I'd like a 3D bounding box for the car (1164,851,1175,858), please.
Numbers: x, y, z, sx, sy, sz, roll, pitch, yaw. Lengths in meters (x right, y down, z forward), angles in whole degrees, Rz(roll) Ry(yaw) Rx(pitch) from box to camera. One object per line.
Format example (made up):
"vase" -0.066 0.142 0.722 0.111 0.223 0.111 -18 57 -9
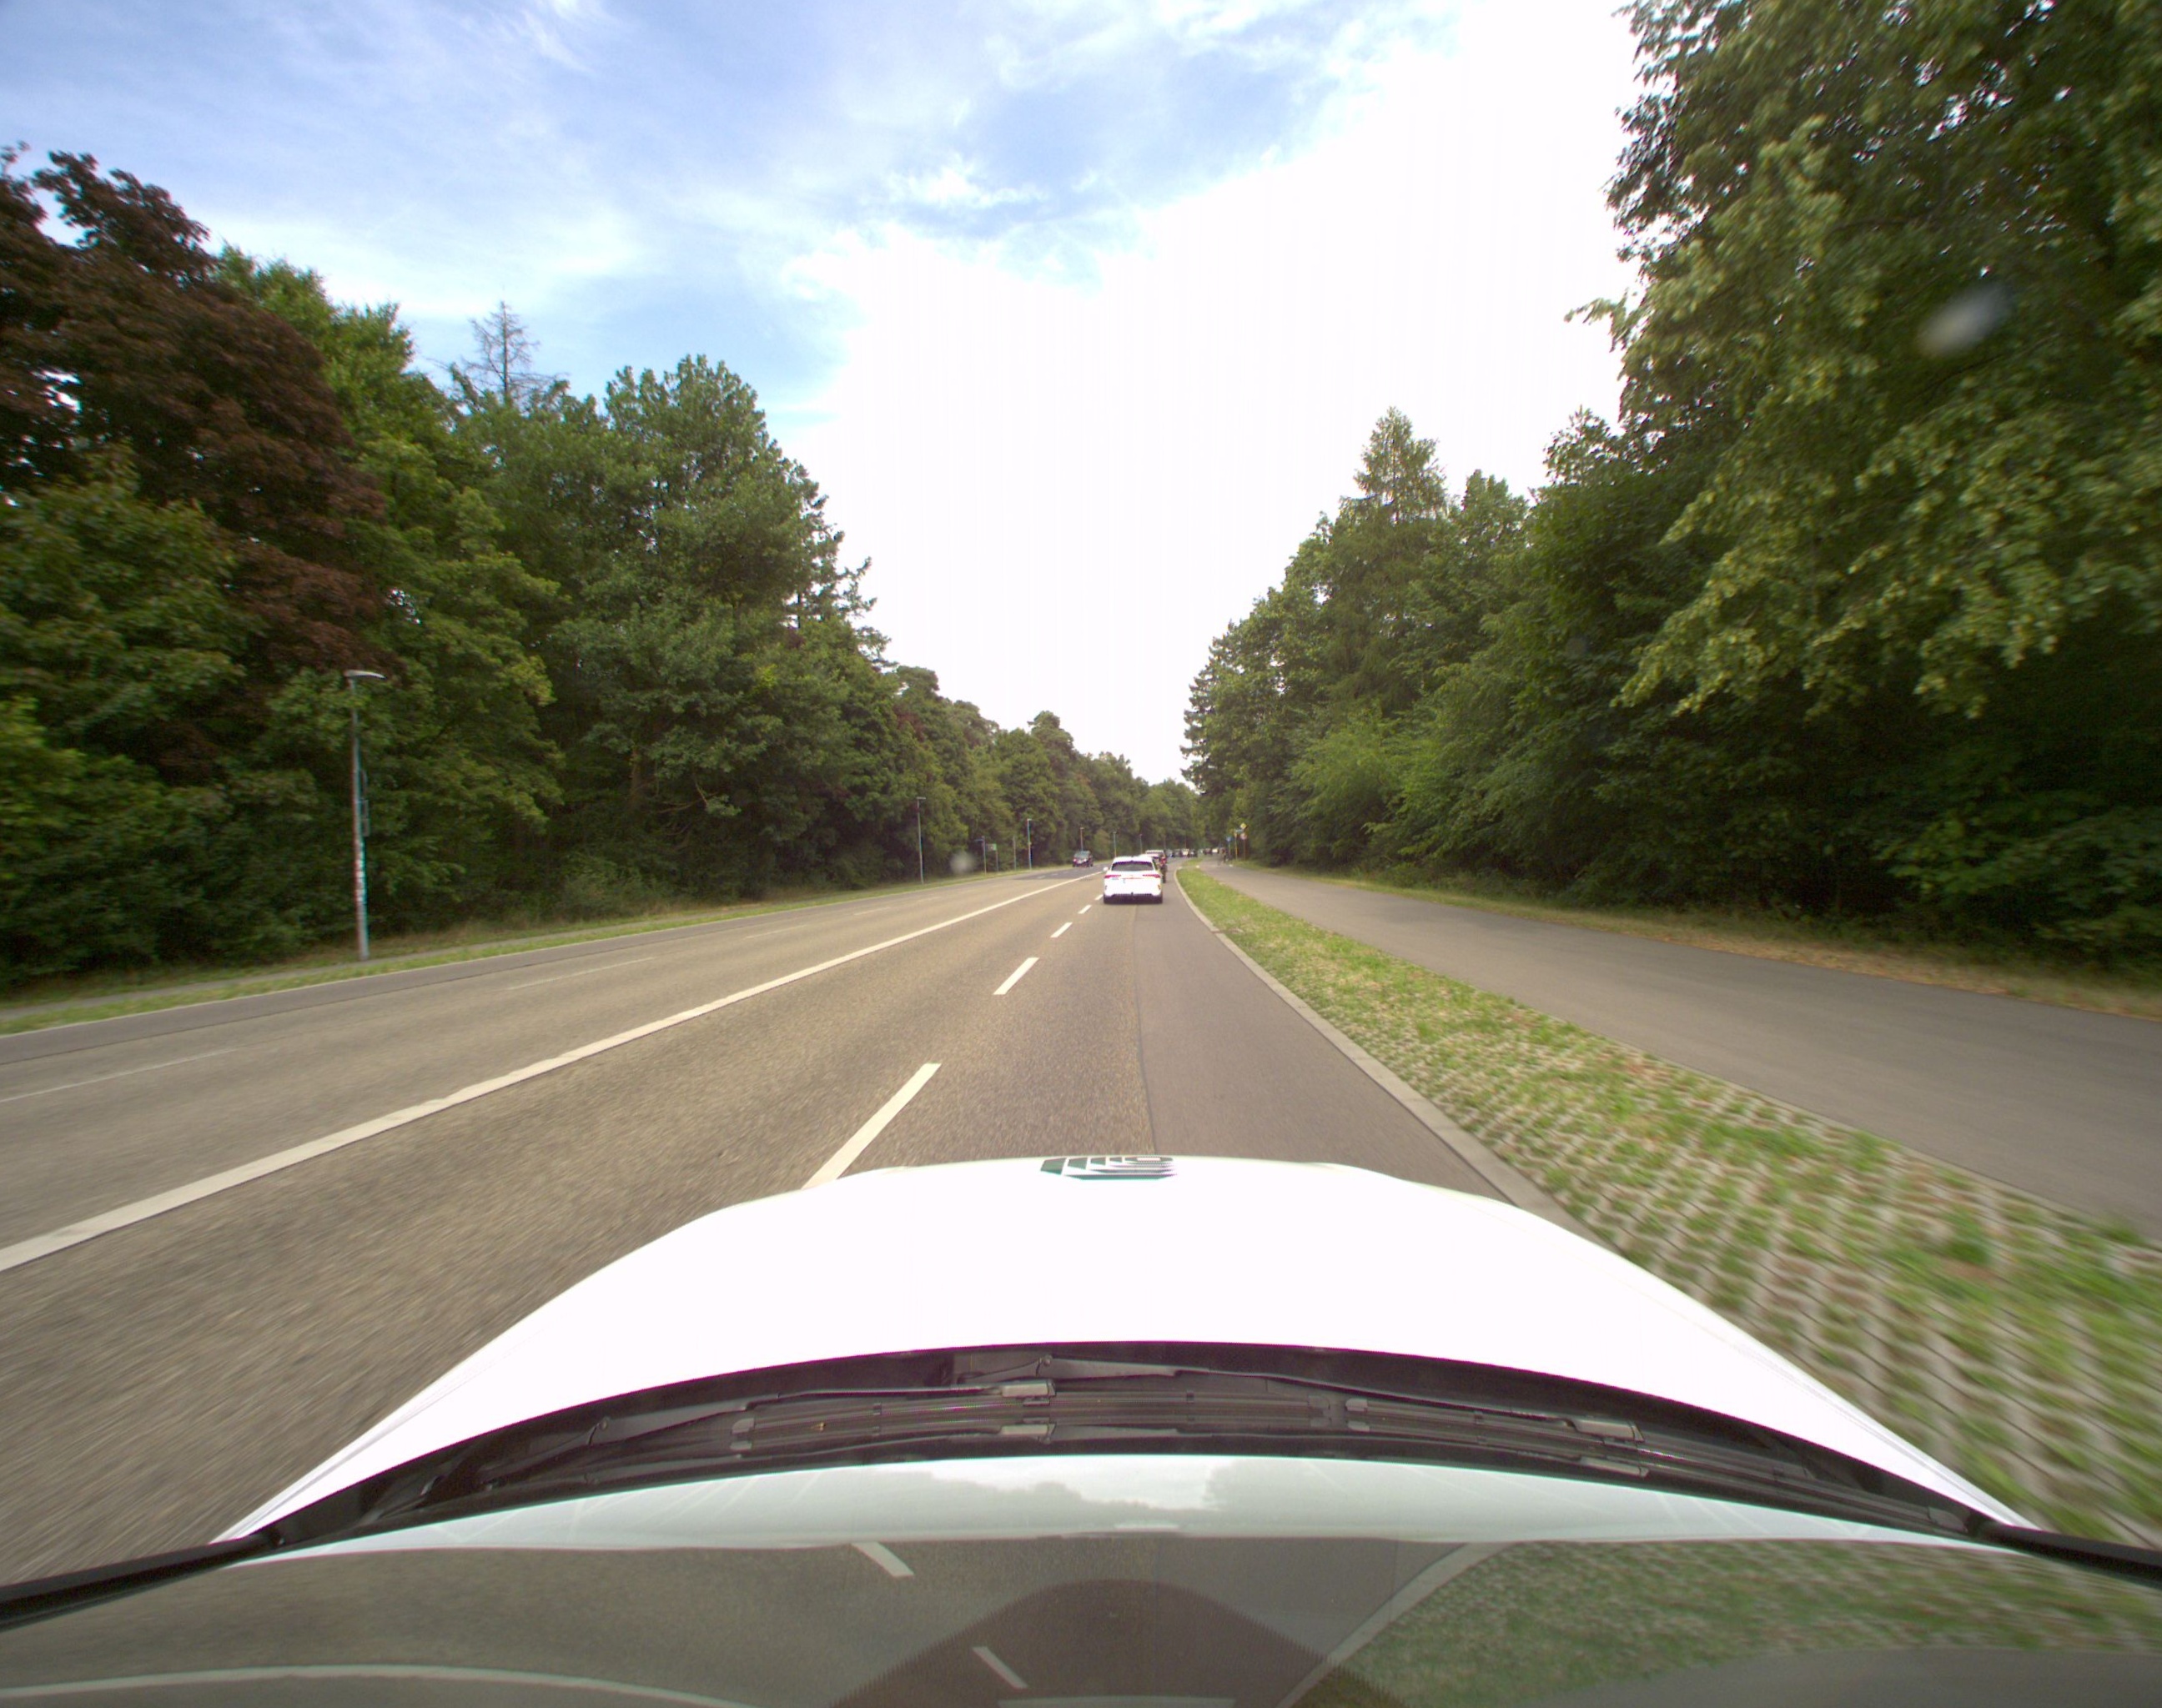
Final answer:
"car" 19.298 0.190 178.000 1.980 1.435 4.736 -1 -1 12

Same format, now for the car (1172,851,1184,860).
"car" 19.553 0.328 163.643 1.980 1.783 4.014 0 -1 13

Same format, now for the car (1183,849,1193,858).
"car" 23.802 -0.118 181.277 1.980 1.783 4.013 0 -1 12

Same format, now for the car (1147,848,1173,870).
"car" 6.149 0.394 63.547 1.984 1.607 4.005 0 -1 5

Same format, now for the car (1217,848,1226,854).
"car" 40.292 -0.831 233.027 1.977 1.706 4.019 -2 0 19

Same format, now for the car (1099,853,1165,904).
"car" 1.680 0.721 25.642 1.827 1.410 4.497 -2 -1 5

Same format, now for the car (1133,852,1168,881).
"car" 3.637 0.646 41.984 1.626 1.420 4.008 0 -1 7

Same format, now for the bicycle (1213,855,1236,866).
"bicycle" 13.630 0.608 77.281 2.188 0.994 0.704 -1 0 -30

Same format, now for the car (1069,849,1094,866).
"car" 0.088 0.410 89.683 1.982 1.791 4.758 0 -1 8

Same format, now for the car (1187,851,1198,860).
"car" 21.607 0.255 157.828 1.981 1.783 4.012 0 -1 11

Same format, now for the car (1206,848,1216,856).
"car" 32.491 -0.515 203.381 1.979 1.783 4.015 0 -1 14

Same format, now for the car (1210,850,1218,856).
"car" 40.289 -0.324 246.787 1.874 1.816 4.016 0 -1 15

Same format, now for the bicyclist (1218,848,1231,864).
"bicyclist" 13.611 0.200 77.273 0.904 1.470 0.704 -1 -1 -30
